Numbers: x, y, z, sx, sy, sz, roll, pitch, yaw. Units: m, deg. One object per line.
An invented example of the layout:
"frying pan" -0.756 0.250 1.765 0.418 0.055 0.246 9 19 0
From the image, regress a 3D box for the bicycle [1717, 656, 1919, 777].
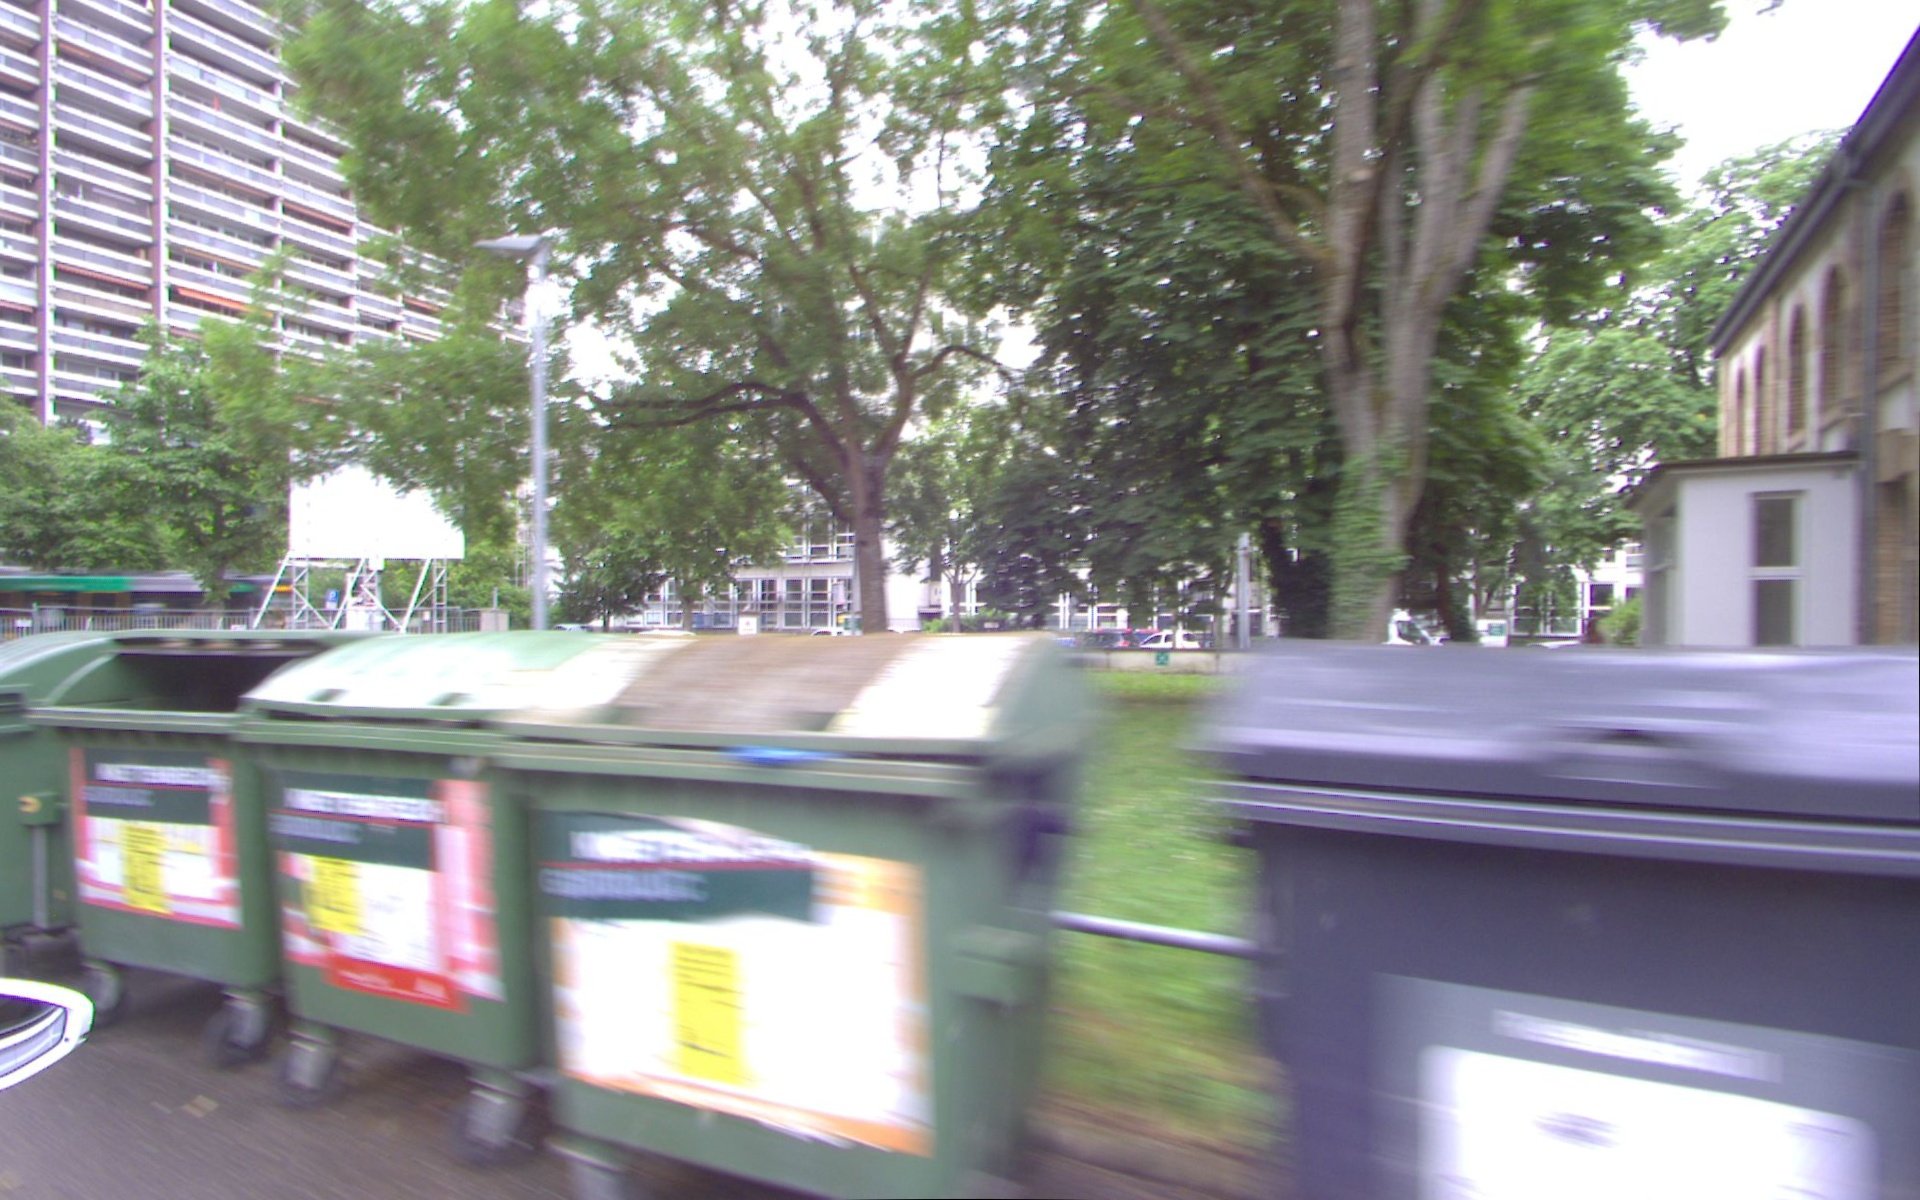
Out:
"bicycle" 8.913 1.171 10.328 1.719 1.129 0.458 0 -1 32

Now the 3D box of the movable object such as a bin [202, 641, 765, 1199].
"movable object such as a bin" -1.500 0.887 3.300 1.273 1.469 1.106 0 -1 24

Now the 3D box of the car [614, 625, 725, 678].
"car" -8.522 1.563 29.740 1.747 1.450 3.982 -1 -4 7

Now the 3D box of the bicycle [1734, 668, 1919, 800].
"bicycle" 8.389 1.237 9.410 1.719 1.129 0.458 0 -1 32

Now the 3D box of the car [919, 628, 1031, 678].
"car" 0.501 1.705 32.591 3.523 1.520 1.666 1 -1 2

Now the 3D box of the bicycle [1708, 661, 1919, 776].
"bicycle" 9.305 1.261 10.982 1.719 1.129 0.458 0 -1 32

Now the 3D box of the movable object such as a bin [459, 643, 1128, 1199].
"movable object such as a bin" -0.348 0.862 2.577 1.304 1.469 1.106 0 -1 24

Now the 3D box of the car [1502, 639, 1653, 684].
"car" 19.610 1.941 31.901 3.737 1.371 1.812 0 -1 -2

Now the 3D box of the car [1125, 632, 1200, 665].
"car" 9.722 2.309 48.236 1.402 1.492 3.360 1 -2 -42

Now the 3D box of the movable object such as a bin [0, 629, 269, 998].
"movable object such as a bin" -4.029 0.867 4.673 1.261 1.453 1.063 -1 -1 42

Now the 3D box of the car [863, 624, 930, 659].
"car" -3.098 1.994 48.344 1.539 1.639 3.380 1 -2 -39

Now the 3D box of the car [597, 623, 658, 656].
"car" -16.020 1.906 48.239 1.602 1.530 3.306 1 -2 -42

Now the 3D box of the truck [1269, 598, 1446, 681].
"truck" 12.701 1.253 32.236 4.832 2.579 2.170 0 -1 2

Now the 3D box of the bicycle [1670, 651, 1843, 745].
"bicycle" 10.343 1.247 13.080 1.719 1.129 0.458 0 -1 32

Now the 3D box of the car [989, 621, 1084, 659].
"car" 3.163 1.658 42.095 3.922 1.539 1.603 0 -1 2

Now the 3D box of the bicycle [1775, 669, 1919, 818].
"bicycle" 7.710 1.156 8.065 1.719 1.129 0.458 0 -1 32

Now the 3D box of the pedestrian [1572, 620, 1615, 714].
"pedestrian" 11.051 1.149 17.476 0.595 1.607 0.625 0 0 29

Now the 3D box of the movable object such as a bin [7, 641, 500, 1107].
"movable object such as a bin" -2.753 0.912 3.991 1.265 1.469 1.106 0 -1 24

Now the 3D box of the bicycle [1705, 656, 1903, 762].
"bicycle" 9.842 1.246 11.751 1.719 1.129 0.458 0 -1 32

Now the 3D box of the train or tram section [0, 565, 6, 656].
"train or tram section" -44.509 0.389 39.100 12.214 3.661 2.669 0 -1 2

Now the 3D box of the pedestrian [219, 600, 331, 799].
"pedestrian" -6.514 0.917 9.561 0.739 1.805 0.661 0 0 -21

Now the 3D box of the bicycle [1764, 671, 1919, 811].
"bicycle" 8.094 1.214 8.668 1.719 1.129 0.458 0 -1 32

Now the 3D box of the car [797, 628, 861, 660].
"car" -6.331 2.105 48.207 1.539 1.492 3.380 1 -2 -39

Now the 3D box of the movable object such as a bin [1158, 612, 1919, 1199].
"movable object such as a bin" 1.159 0.769 1.879 1.340 1.469 1.106 0 -1 24

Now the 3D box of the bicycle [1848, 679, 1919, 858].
"bicycle" 6.822 1.103 6.354 1.719 1.129 0.458 0 -1 32

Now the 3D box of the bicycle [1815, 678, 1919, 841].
"bicycle" 7.332 1.170 7.221 1.719 1.129 0.458 0 -1 32

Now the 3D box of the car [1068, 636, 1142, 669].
"car" 6.865 2.454 47.534 1.402 1.492 3.360 1 -2 -42

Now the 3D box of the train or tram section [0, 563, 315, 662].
"train or tram section" -32.971 0.494 38.757 14.482 3.661 2.669 0 -1 2
